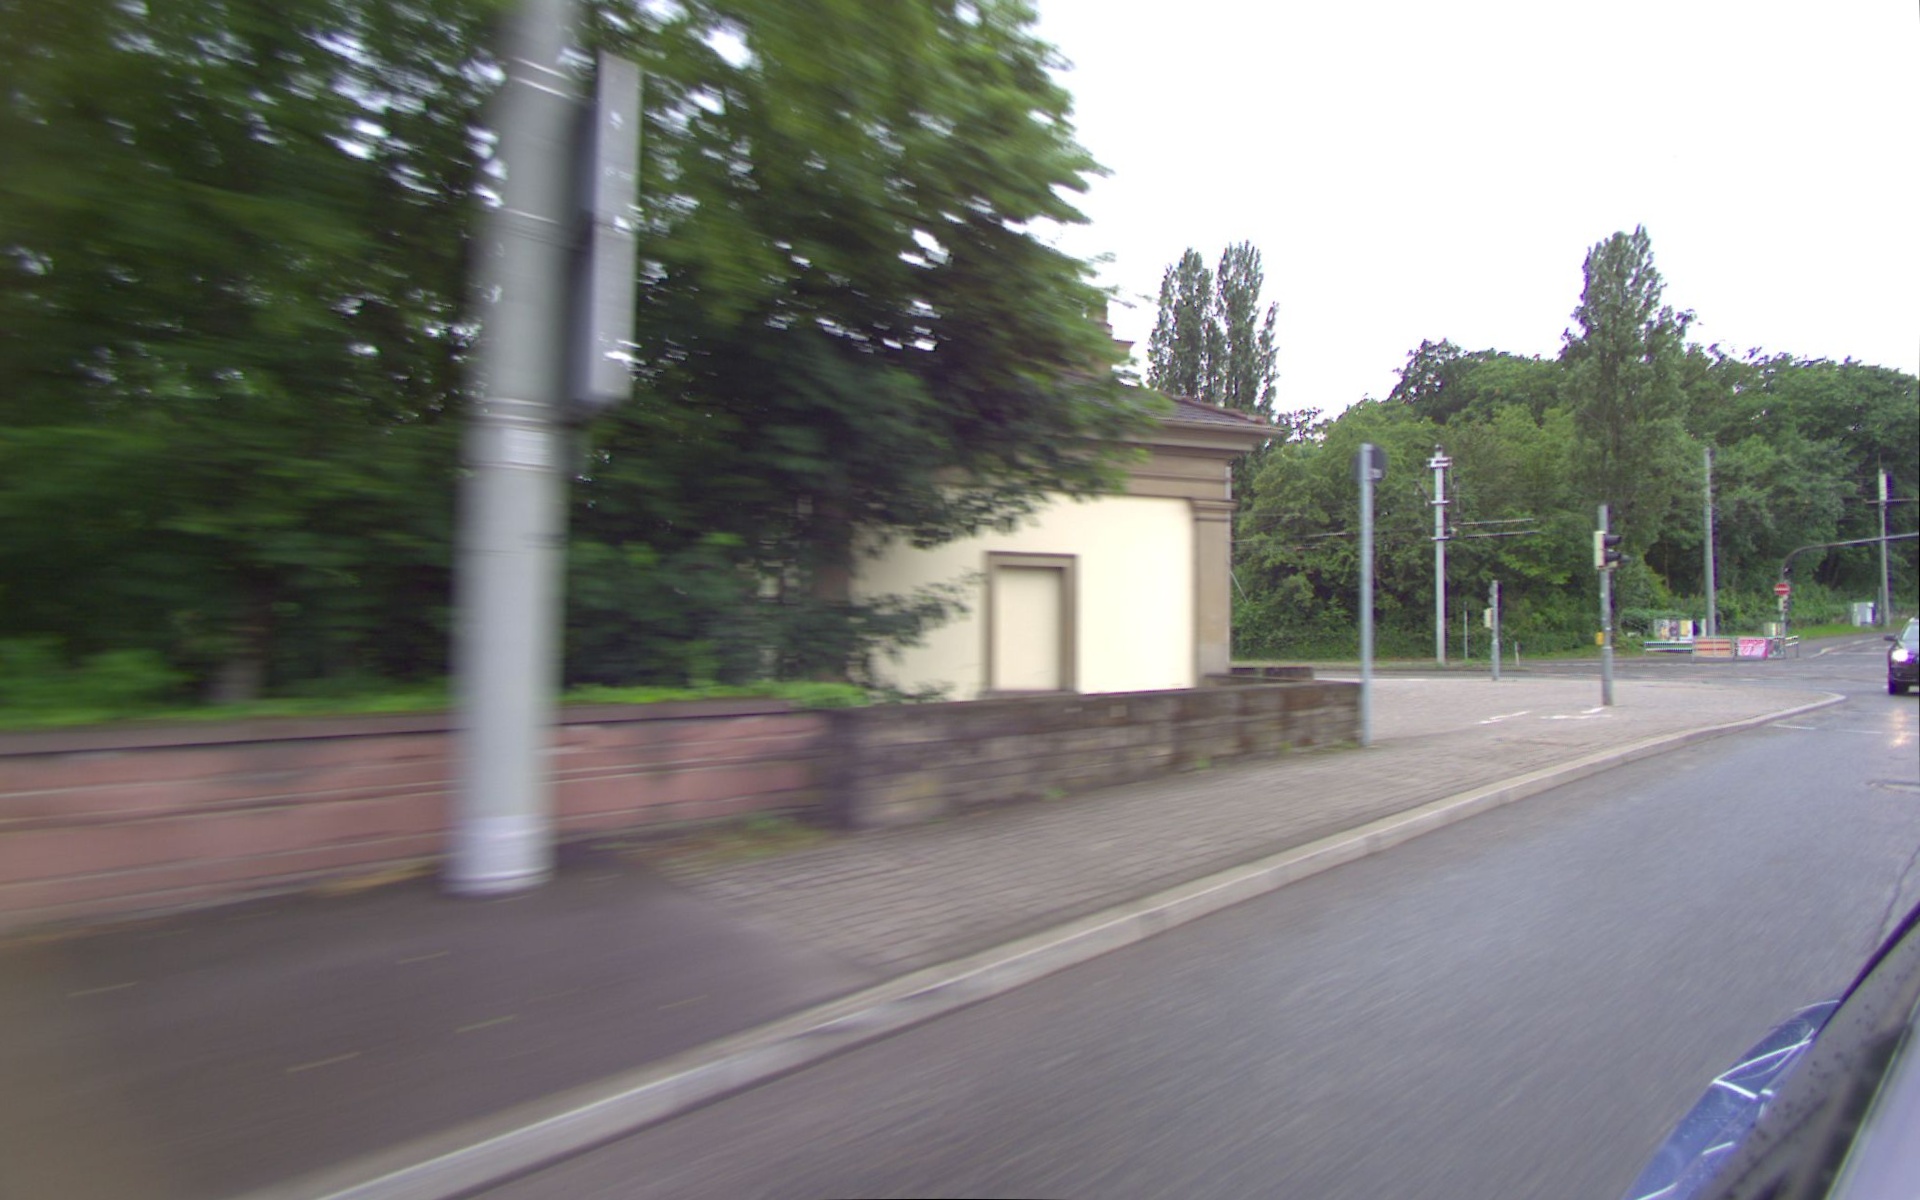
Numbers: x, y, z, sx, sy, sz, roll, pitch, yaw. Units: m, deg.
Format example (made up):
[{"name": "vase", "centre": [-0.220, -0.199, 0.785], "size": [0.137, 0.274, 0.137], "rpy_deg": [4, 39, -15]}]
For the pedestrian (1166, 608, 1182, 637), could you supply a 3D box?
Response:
[{"name": "pedestrian", "centre": [11.689, 1.229, 55.250], "size": [0.650, 1.575, 0.801], "rpy_deg": [-2, -3, 32]}]

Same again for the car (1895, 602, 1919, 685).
[{"name": "car", "centre": [20.439, 0.935, 20.654], "size": [1.849, 1.608, 3.939], "rpy_deg": [-1, -3, 41]}]
